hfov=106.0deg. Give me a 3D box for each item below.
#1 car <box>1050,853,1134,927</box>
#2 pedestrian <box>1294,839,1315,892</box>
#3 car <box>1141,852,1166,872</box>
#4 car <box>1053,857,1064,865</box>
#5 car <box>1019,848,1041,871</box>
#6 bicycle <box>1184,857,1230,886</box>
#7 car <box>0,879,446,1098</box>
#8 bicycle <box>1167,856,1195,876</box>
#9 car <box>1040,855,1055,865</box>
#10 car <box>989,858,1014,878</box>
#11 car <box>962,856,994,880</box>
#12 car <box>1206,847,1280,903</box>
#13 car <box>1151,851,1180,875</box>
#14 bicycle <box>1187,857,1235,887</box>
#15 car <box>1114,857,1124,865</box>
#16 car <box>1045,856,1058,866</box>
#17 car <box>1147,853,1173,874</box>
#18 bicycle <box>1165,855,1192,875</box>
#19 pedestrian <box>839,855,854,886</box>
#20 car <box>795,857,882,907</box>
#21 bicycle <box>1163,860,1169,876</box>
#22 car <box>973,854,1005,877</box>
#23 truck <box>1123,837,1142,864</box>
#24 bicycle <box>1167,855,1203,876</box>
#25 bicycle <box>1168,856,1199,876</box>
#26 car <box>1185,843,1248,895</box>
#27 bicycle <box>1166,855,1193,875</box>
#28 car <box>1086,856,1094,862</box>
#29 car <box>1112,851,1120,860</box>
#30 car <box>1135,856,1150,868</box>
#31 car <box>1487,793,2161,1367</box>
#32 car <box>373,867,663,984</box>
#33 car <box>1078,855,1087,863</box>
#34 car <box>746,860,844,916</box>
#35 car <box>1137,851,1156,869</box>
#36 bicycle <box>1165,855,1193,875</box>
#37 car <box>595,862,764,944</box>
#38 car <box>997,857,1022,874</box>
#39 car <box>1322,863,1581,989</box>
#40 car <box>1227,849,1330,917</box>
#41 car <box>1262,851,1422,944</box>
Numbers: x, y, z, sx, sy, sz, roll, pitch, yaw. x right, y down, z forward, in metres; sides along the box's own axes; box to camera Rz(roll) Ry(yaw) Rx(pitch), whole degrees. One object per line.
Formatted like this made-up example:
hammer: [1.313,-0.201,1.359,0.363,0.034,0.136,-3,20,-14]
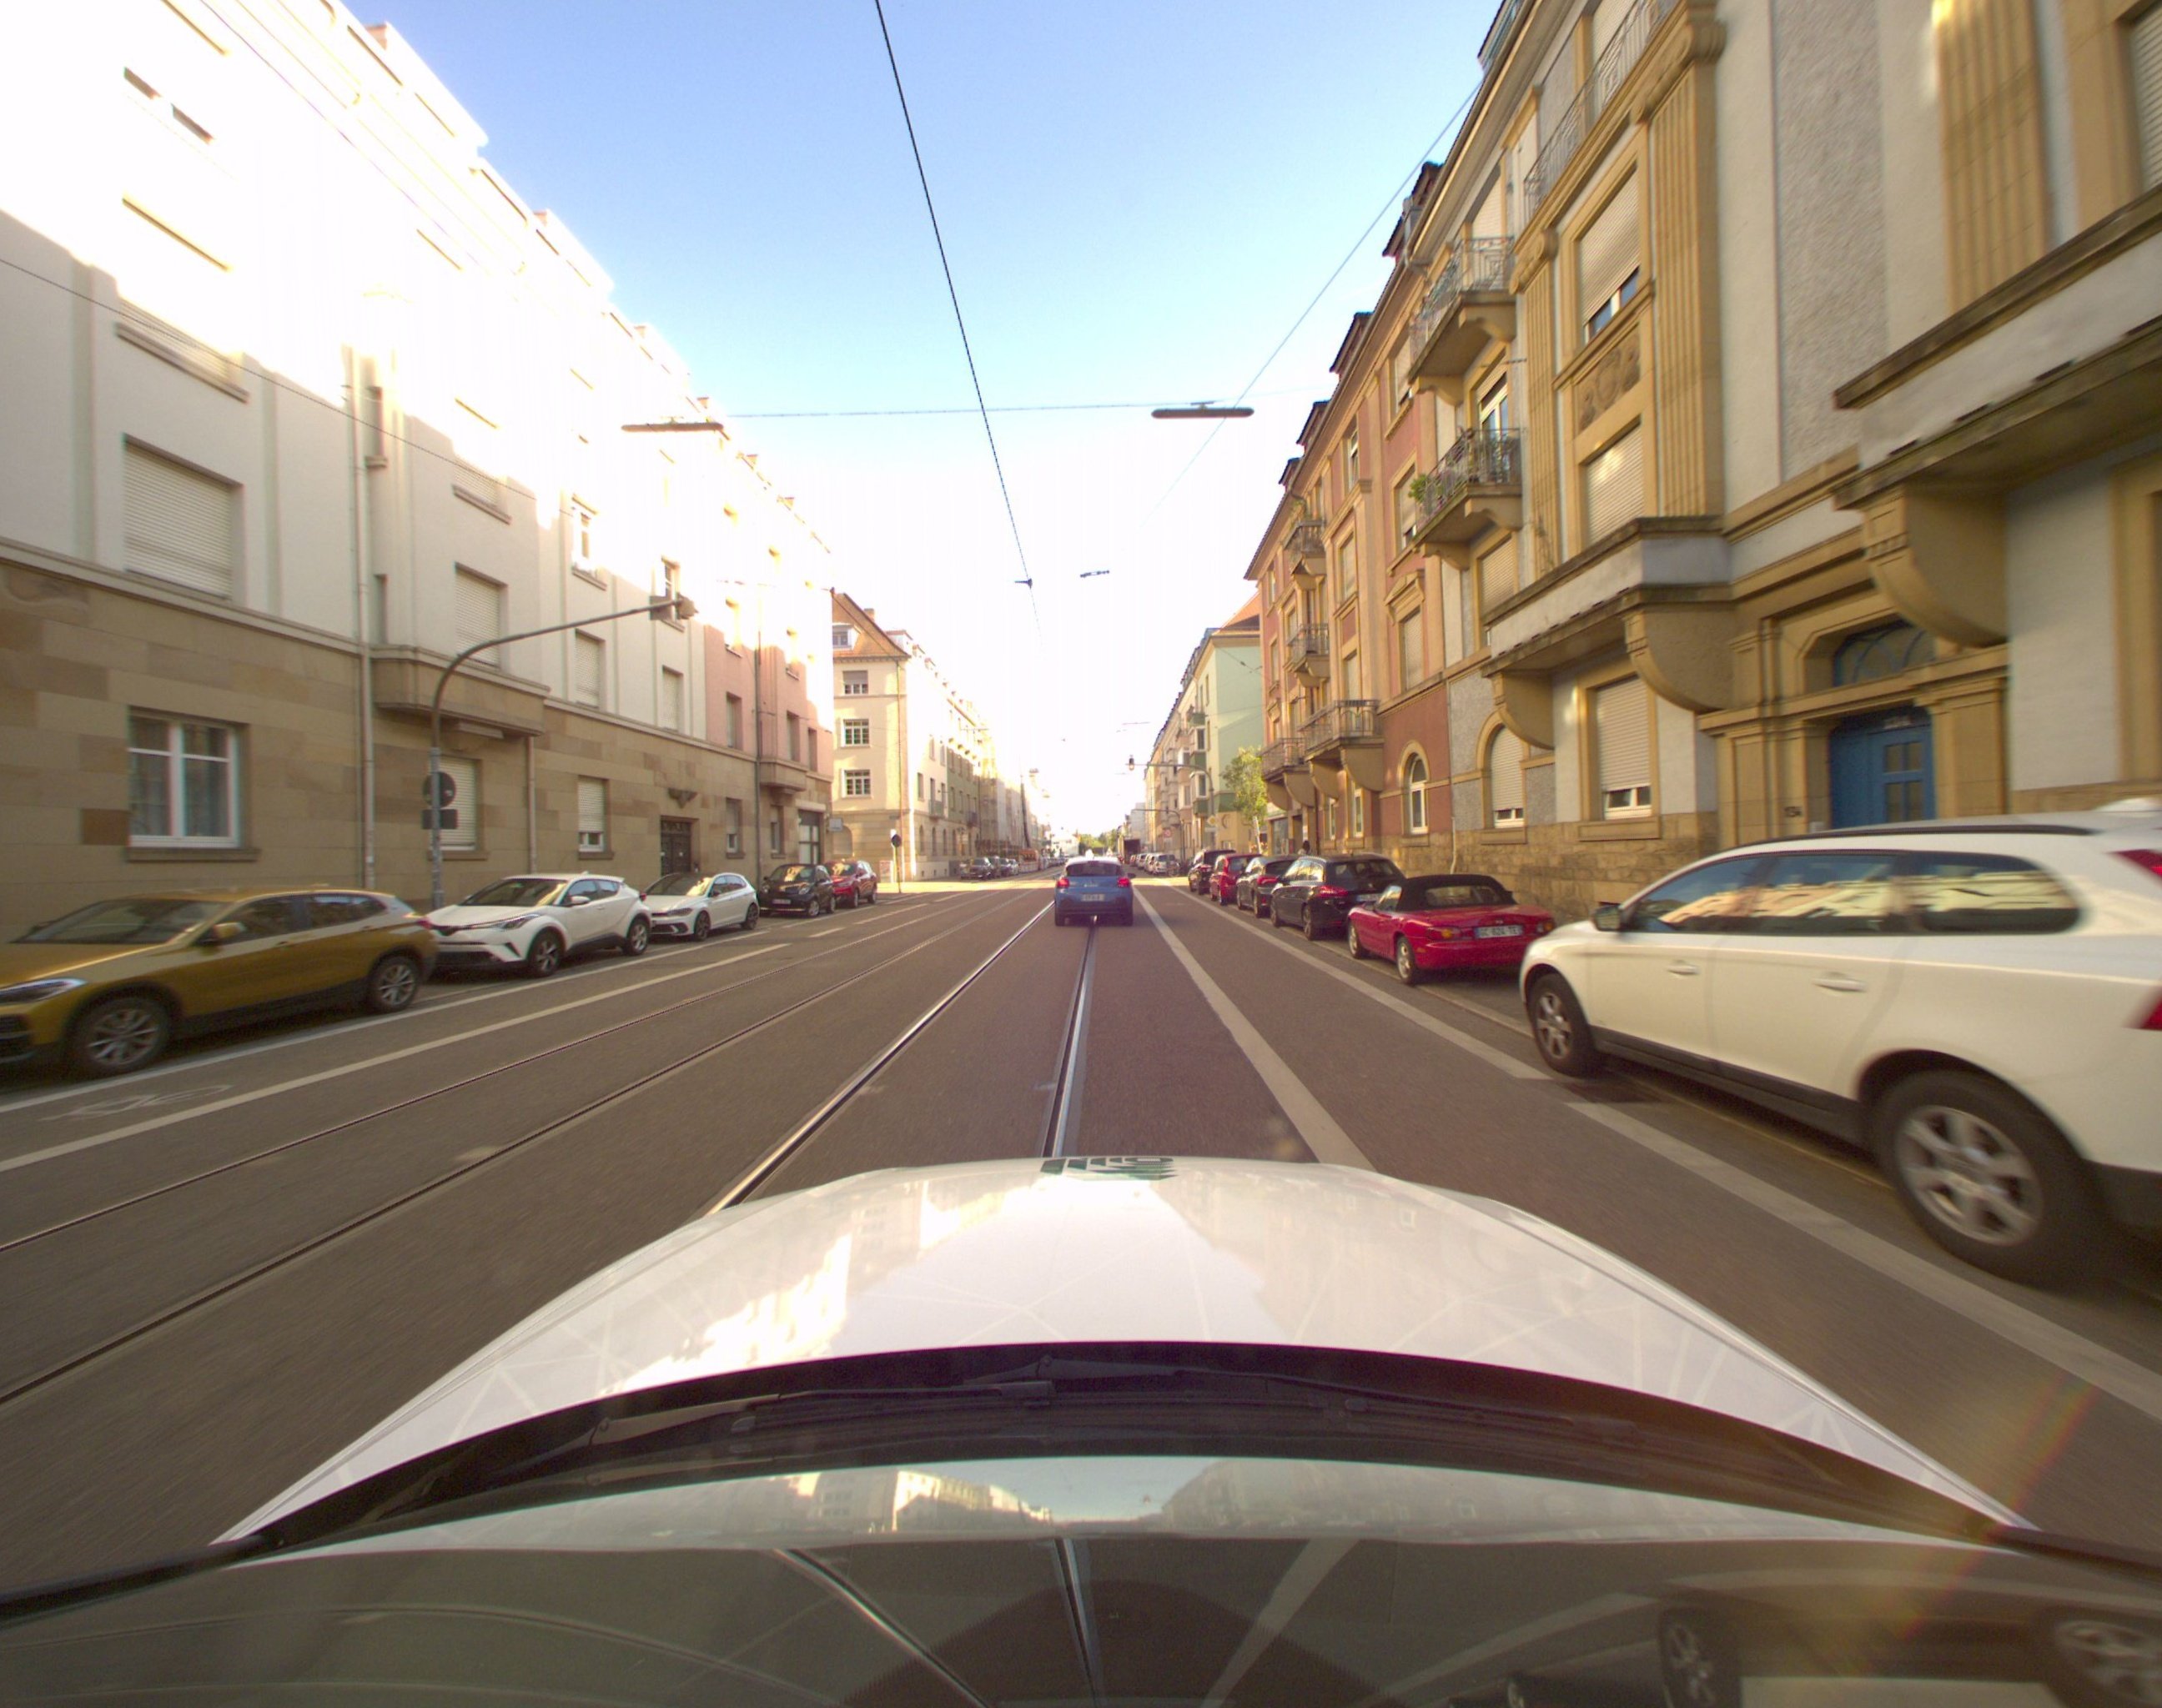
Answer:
car: [0.309,0.749,18.839,1.728,1.507,3.994,0,0,2]
pedestrian: [7.249,0.378,26.442,0.511,1.687,0.448,-1,0,1]
car: [6.743,0.721,76.044,1.651,1.752,4.599,-2,0,-2]
car: [-4.477,1.349,160.933,1.819,1.632,3.906,-2,0,2]
car: [-5.860,0.620,94.093,2.138,2.475,4.979,-1,0,0]
bicycle: [5.635,0.775,36.482,1.952,1.227,0.527,-3,-1,2]
car: [-9.033,1.081,8.196,1.777,1.523,4.360,0,0,1]
bicycle: [6.614,0.783,53.780,1.716,1.154,0.469,-5,0,2]
car: [-5.610,0.987,135.096,2.137,1.621,4.001,-2,0,1]
car: [-6.897,1.168,70.983,1.777,1.627,4.608,0,0,0]
car: [-7.491,0.975,59.542,1.777,1.690,4.667,0,0,0]
car: [5.012,0.611,25.586,1.746,1.594,3.732,-1,0,3]
car: [6.080,0.673,59.141,1.777,1.632,4.002,-2,0,2]
bicycle: [5.622,0.768,35.349,1.952,1.227,0.527,-3,-1,2]
car: [7.616,1.391,163.423,1.758,1.487,4.033,-2,0,2]
car: [-5.118,1.161,140.863,1.819,1.632,4.851,-2,0,2]
car: [6.232,0.768,64.823,1.777,1.576,4.328,-2,0,2]
bicycle: [6.668,0.750,55.709,1.716,1.154,0.469,-5,0,2]
pedestrian: [-13.368,0.948,46.400,0.604,1.712,0.732,-1,0,1]
car: [-8.487,0.932,28.895,1.777,1.606,4.396,0,0,0]
bicycle: [5.662,0.919,54.281,0.351,1.044,1.730,-1,0,4]
car: [-7.328,0.887,65.040,1.776,1.816,4.531,0,0,3]
truck: [8.163,-0.501,130.089,2.841,4.083,11.279,-2,0,3]
bicycle: [6.550,0.711,51.312,2.078,1.154,0.848,-4,0,2]
bicycle: [6.553,0.756,51.996,1.836,1.154,0.469,-5,0,2]
car: [5.165,0.544,31.555,1.746,1.735,4.509,-5,0,2]
bicycle: [6.638,0.745,55.082,1.716,1.154,0.469,-5,0,2]
car: [2.424,1.256,217.263,1.819,1.632,4.492,-2,0,2]
car: [9.605,0.437,222.302,2.211,2.284,4.086,-2,0,2]
car: [7.770,0.991,103.502,1.657,1.519,4.224,-2,0,2]
car: [4.159,0.649,4.354,1.836,1.691,4.507,-1,0,2]
car: [-8.973,1.033,13.546,1.766,1.547,4.365,0,0,0]
car: [0.304,1.031,170.850,1.819,1.632,4.492,-2,0,2]
car: [-8.536,0.983,24.561,1.776,1.553,3.020,0,0,2]
car: [7.059,0.644,88.030,1.724,1.827,4.689,-2,0,2]
bicycle: [6.532,0.723,54.464,1.716,1.154,0.469,-5,0,2]
car: [-8.971,1.016,18.647,1.777,1.622,4.178,0,0,0]
car: [-6.780,1.053,77.201,1.711,1.502,4.391,0,0,3]
car: [4.555,0.784,10.811,1.647,1.249,4.510,-1,0,4]
car: [4.915,0.673,20.862,1.648,1.513,4.476,-1,0,2]
car: [4.777,0.715,15.592,1.648,1.483,4.474,-1,0,1]
